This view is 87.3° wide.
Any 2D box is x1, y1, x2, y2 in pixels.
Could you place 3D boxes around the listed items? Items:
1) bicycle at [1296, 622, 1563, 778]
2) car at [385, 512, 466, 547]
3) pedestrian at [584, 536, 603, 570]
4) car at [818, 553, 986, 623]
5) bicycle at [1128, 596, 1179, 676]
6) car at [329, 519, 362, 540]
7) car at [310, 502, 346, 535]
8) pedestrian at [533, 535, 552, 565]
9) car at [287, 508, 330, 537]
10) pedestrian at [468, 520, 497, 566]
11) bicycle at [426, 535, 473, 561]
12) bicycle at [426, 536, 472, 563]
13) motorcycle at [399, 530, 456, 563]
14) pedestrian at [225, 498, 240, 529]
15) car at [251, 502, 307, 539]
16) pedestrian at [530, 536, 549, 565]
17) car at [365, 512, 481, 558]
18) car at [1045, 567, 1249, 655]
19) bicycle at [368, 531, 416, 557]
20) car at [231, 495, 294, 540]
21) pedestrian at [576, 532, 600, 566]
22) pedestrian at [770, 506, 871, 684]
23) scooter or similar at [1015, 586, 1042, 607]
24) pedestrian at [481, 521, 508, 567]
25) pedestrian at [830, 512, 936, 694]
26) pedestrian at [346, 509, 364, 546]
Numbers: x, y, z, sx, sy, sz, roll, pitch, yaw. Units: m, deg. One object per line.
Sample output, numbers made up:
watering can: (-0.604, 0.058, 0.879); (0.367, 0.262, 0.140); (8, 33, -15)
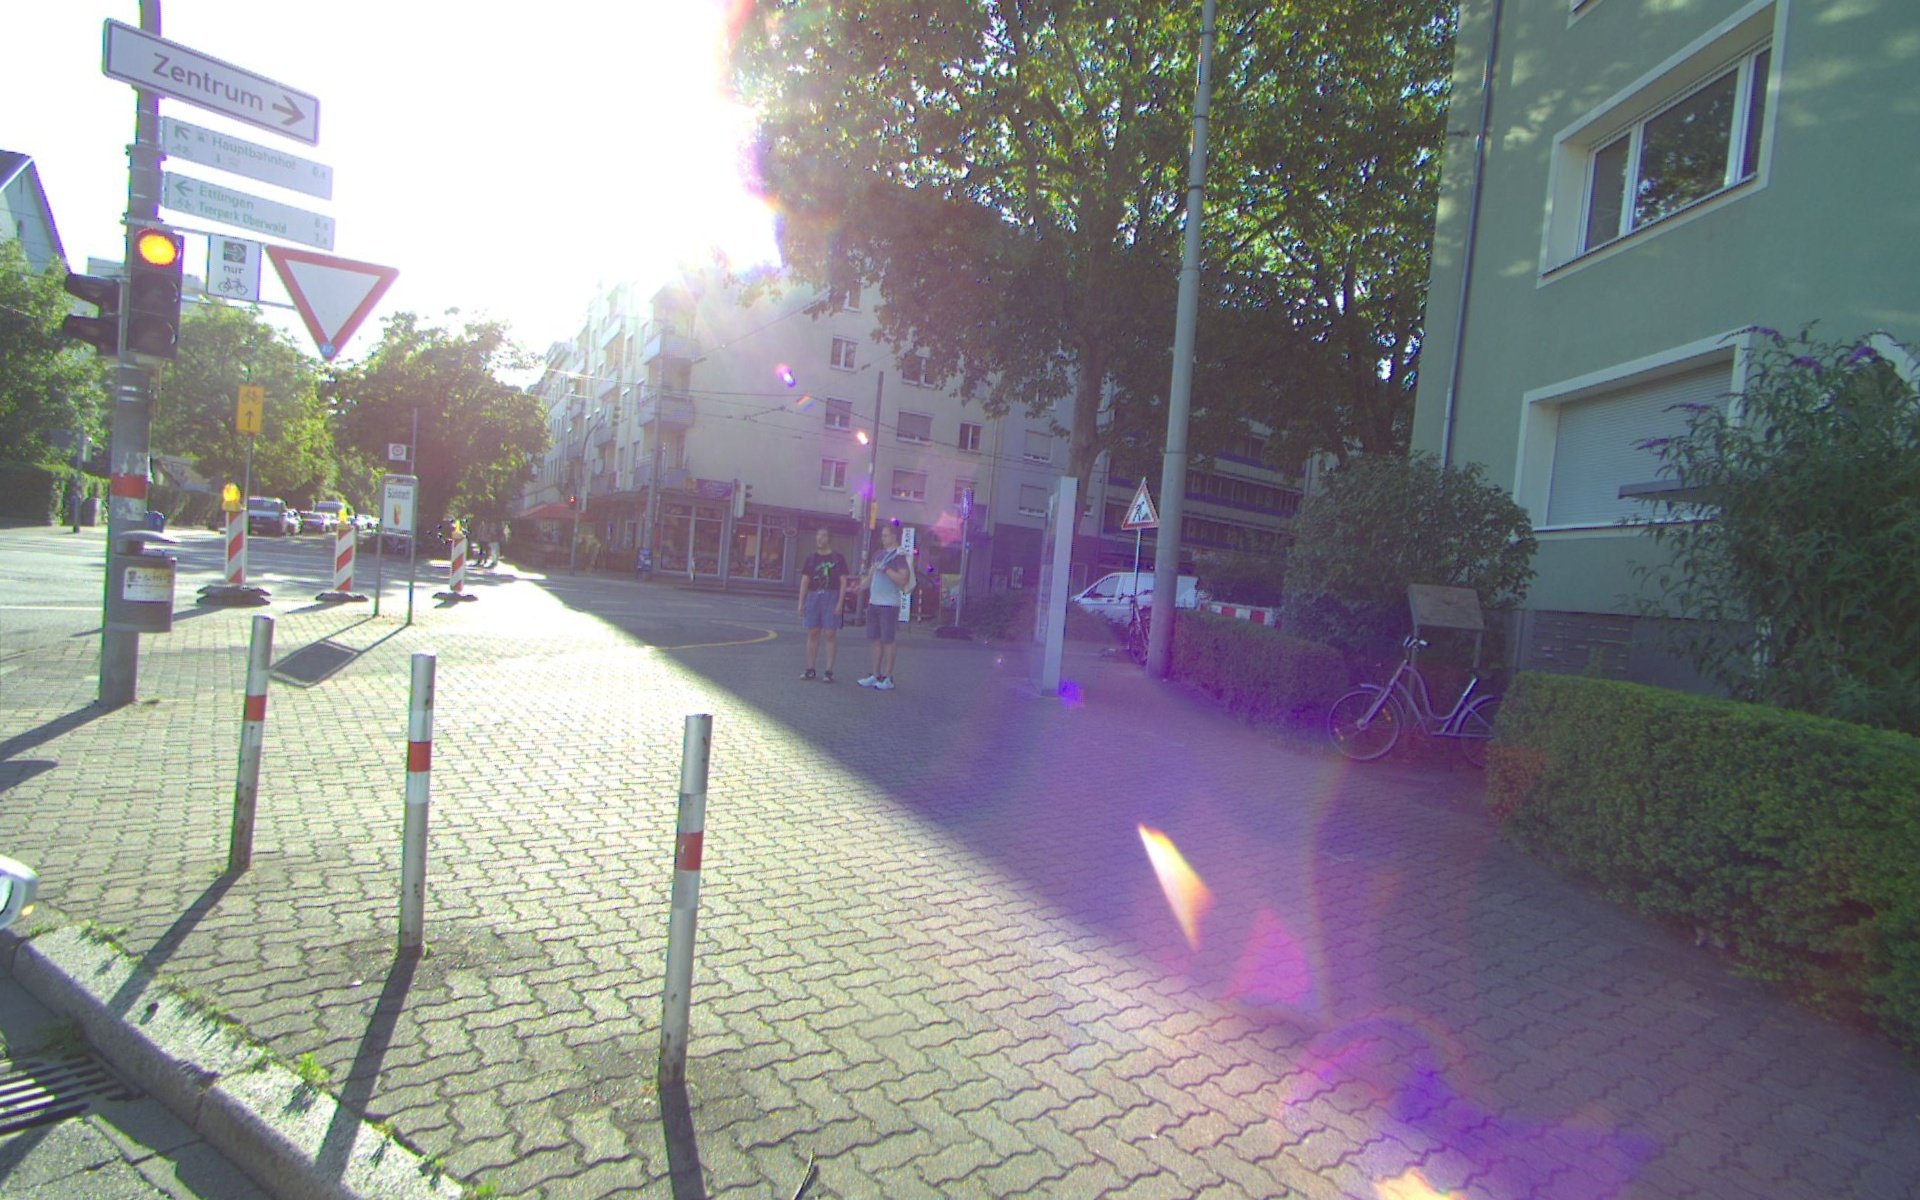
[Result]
bicycle: (3.949, 0.826, 8.556); (1.897, 1.071, 0.521); (6, 2, 5)
car: (-39.359, -5.159, 74.123); (5.050, 1.948, 2.344); (5, 0, -32)
pedestrian: (-17.852, -2.292, 49.044); (0.472, 1.613, 0.615); (8, 3, 45)
car: (-1.637, -0.334, 28.893); (4.340, 1.585, 1.884); (4, 3, -29)
bicycle: (2.860, 0.498, 15.010); (0.511, 1.071, 1.933); (6, 2, 7)
car: (-61.541, -7.073, 100.810); (2.333, 1.818, 5.271); (5, 2, -28)
car: (-54.398, -6.990, 86.639); (2.336, 2.548, 5.265); (4, 2, -31)
pedestrian: (-20.828, -2.490, 50.209); (0.803, 1.381, 0.908); (4, 2, -24)
car: (-47.046, -5.587, 72.774); (2.336, 1.818, 5.265); (4, 2, -31)
pedestrian: (-19.373, -2.302, 40.830); (0.706, 1.774, 0.793); (5, 2, -7)
bicycle: (-21.609, -2.193, 42.612); (1.708, 0.945, 0.557); (5, 2, -29)
bicycle: (-21.979, -2.170, 43.284); (1.708, 0.945, 0.557); (5, 2, -29)
motorcycle: (-21.647, -2.167, 40.888); (1.938, 1.124, 0.829); (4, 2, -34)
pedestrian: (-42.010, -4.981, 58.073); (0.575, 1.754, 0.602); (4, 3, -34)
car: (-40.169, -4.686, 59.464); (2.336, 1.818, 5.265); (4, 2, -31)
pedestrian: (-21.467, -2.530, 51.365); (0.803, 1.381, 0.908); (4, 2, -23)
car: (-30.235, -3.587, 56.682); (5.576, 1.948, 2.343); (5, 0, -32)
car: (4.705, 0.225, 26.139); (1.913, 1.849, 5.185); (5, 0, -37)
bicycle: (-23.708, -2.337, 42.020); (1.708, 0.945, 0.667); (5, 2, -29)
car: (-37.337, -4.403, 53.991); (2.336, 2.040, 5.265); (4, 2, -31)
pedestrian: (-18.369, -2.518, 49.676); (0.806, 1.565, 0.905); (3, 3, -35)
pedestrian: (-1.480, -0.054, 10.731); (0.680, 1.774, 0.794); (6, 2, 13)
scooter or similar: (3.551, -0.185, 52.140); (1.421, 0.966, 0.462); (4, 3, -44)
pedestrian: (-18.568, -2.223, 40.148); (0.681, 1.774, 0.793); (5, 2, -9)
pedestrian: (-0.797, 0.029, 10.528); (0.680, 1.774, 0.794); (6, 2, 21)
pedestrian: (-31.757, -3.779, 52.822); (0.656, 1.864, 0.677); (4, 3, -30)
